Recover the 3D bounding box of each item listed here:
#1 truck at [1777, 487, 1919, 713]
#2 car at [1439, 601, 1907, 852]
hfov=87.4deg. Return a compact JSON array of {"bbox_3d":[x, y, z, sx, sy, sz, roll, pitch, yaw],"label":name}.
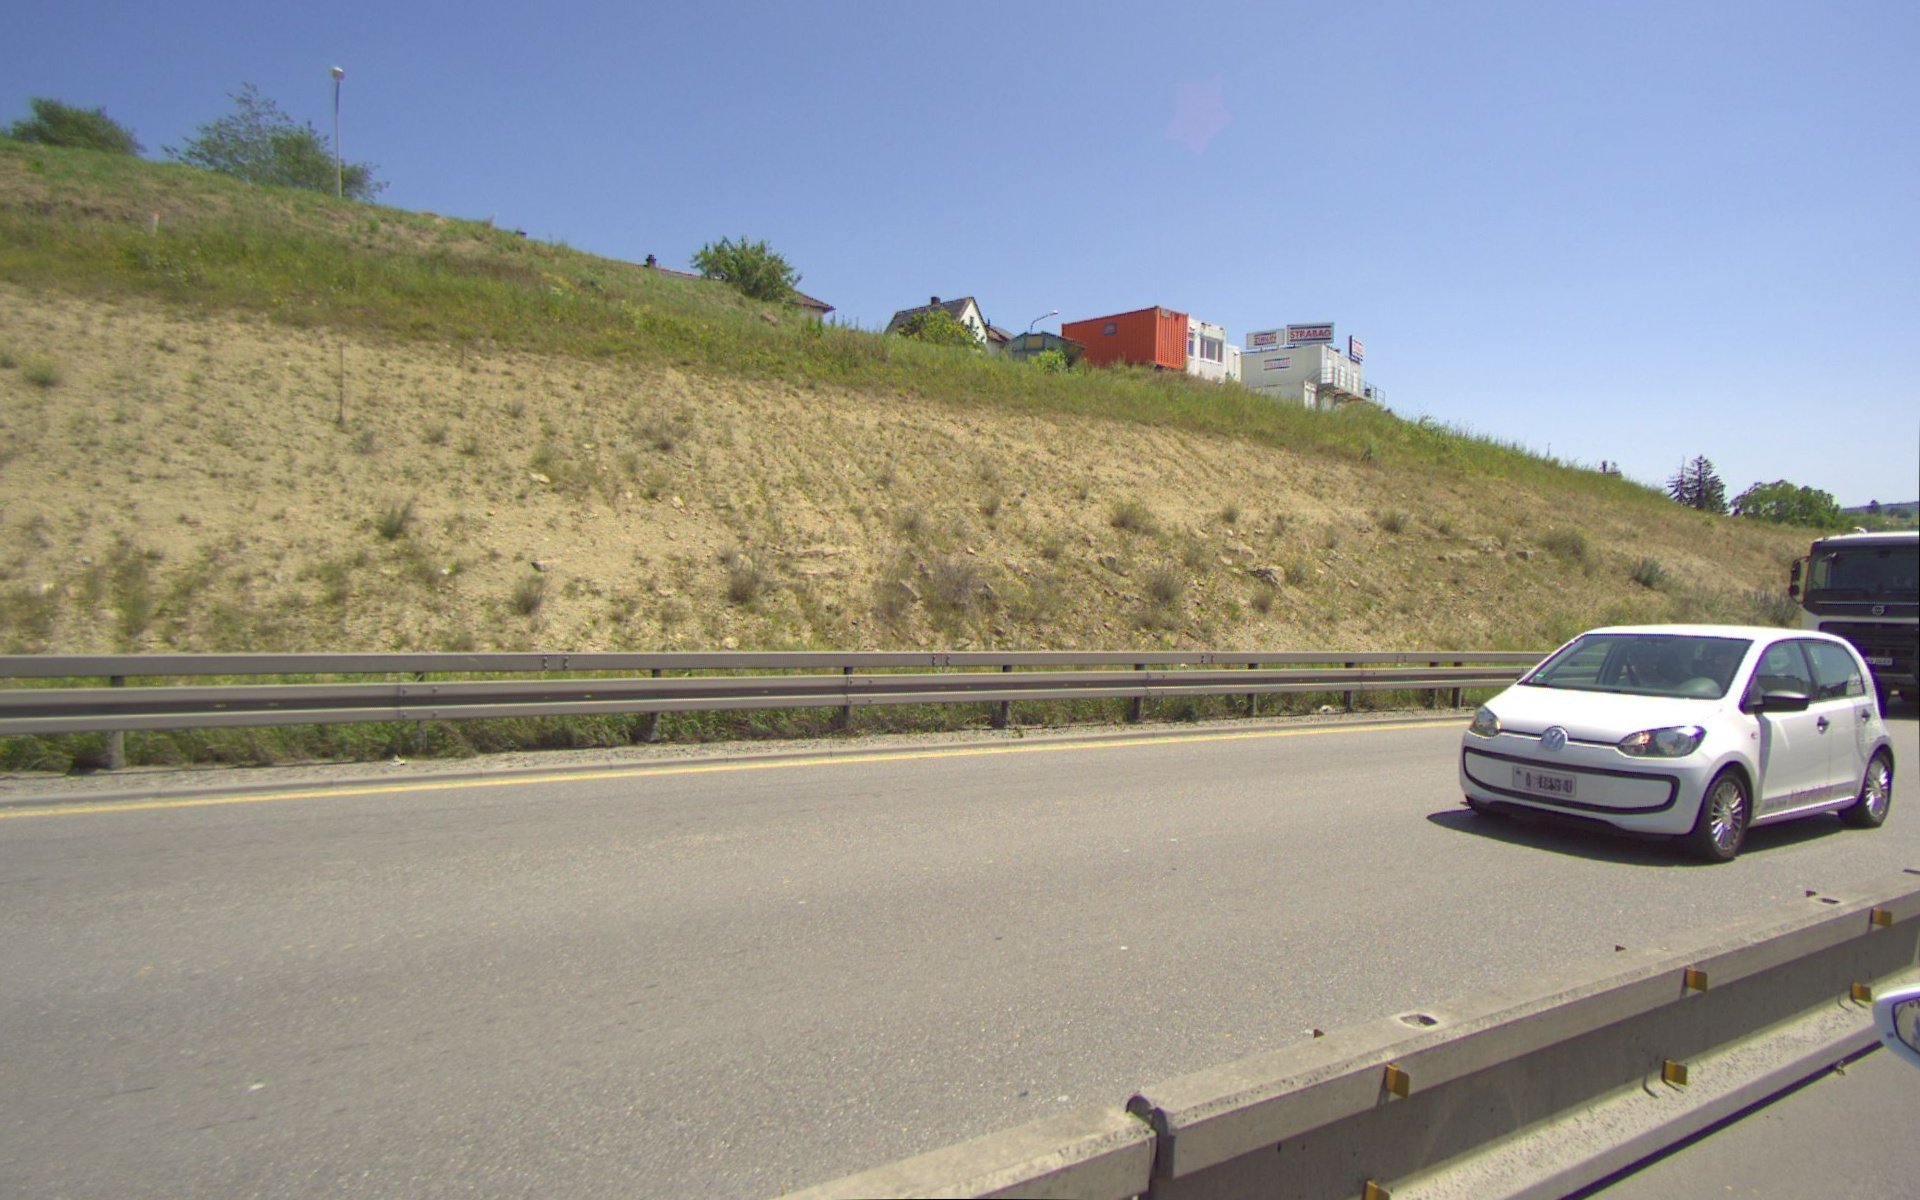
[{"bbox_3d":[19.684,0.101,19.729,9.223,3.772,2.574,1,0,-31],"label":"truck"},{"bbox_3d":[5.300,0.773,7.424,3.255,1.449,1.676,1,0,-31],"label":"car"}]
